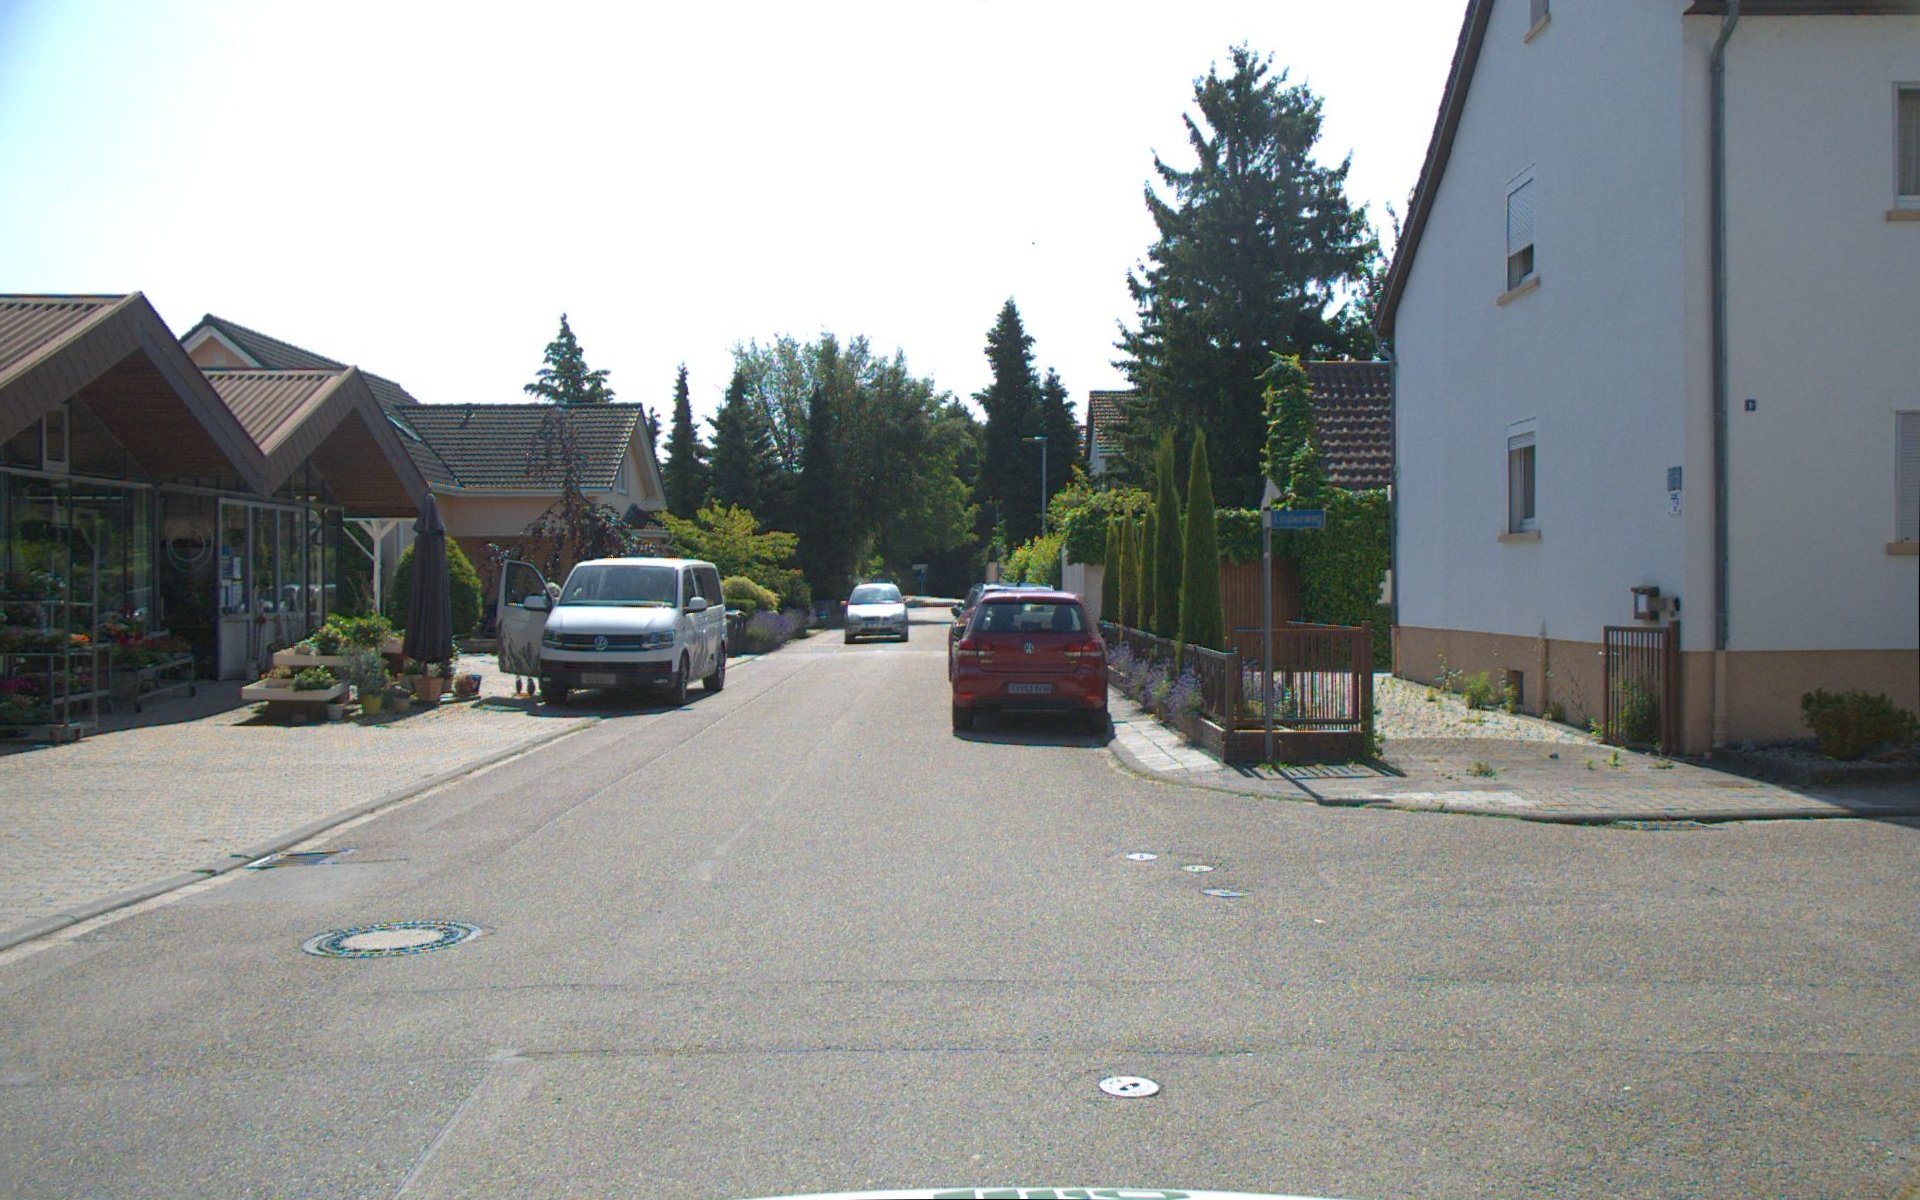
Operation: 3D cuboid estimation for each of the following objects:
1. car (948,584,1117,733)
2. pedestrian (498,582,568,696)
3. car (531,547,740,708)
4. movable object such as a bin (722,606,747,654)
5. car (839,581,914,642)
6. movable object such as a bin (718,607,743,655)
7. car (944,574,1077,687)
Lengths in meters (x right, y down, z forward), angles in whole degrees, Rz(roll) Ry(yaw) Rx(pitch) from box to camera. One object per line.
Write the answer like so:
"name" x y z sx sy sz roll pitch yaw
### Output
"car" 0.864 0.594 19.235 1.738 1.505 4.002 1 0 3
"pedestrian" -5.985 0.527 23.178 0.704 1.565 0.640 1 1 33
"car" -4.463 0.335 23.531 1.889 2.049 4.897 0 0 1
"movable object such as a bin" -5.058 0.670 37.142 0.484 1.042 0.447 -1 0 0
"car" -2.188 0.270 44.176 1.716 1.513 4.376 -1 0 1
"movable object such as a bin" -5.088 0.675 36.641 0.484 1.042 0.447 -1 0 0
"car" 0.715 0.429 26.029 1.786 1.643 3.998 0 0 -3
